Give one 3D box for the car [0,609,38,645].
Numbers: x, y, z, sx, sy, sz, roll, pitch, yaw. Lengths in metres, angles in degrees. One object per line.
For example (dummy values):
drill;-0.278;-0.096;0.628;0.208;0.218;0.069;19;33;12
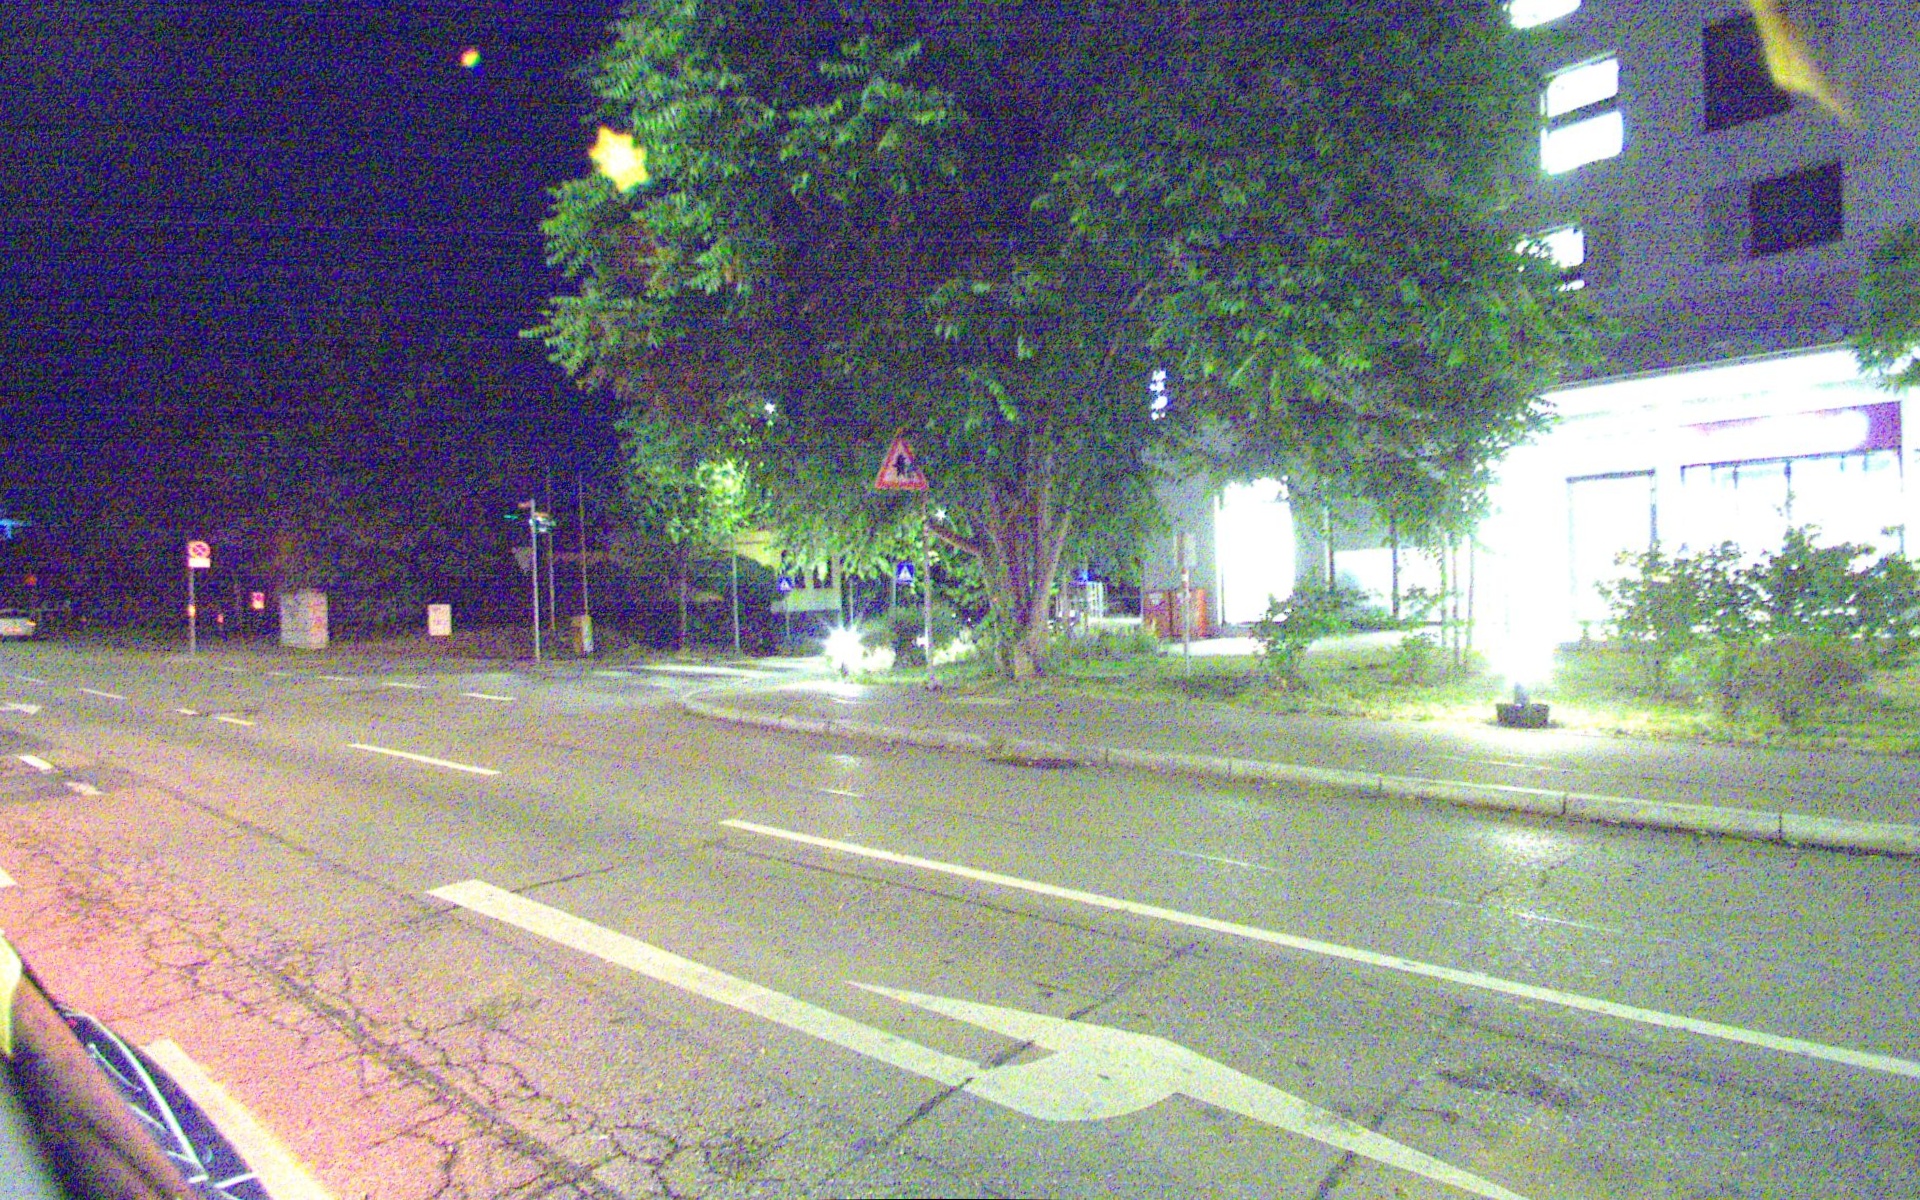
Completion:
car;-43.285;1.190;45.792;3.998;1.464;1.887;1;2;41
